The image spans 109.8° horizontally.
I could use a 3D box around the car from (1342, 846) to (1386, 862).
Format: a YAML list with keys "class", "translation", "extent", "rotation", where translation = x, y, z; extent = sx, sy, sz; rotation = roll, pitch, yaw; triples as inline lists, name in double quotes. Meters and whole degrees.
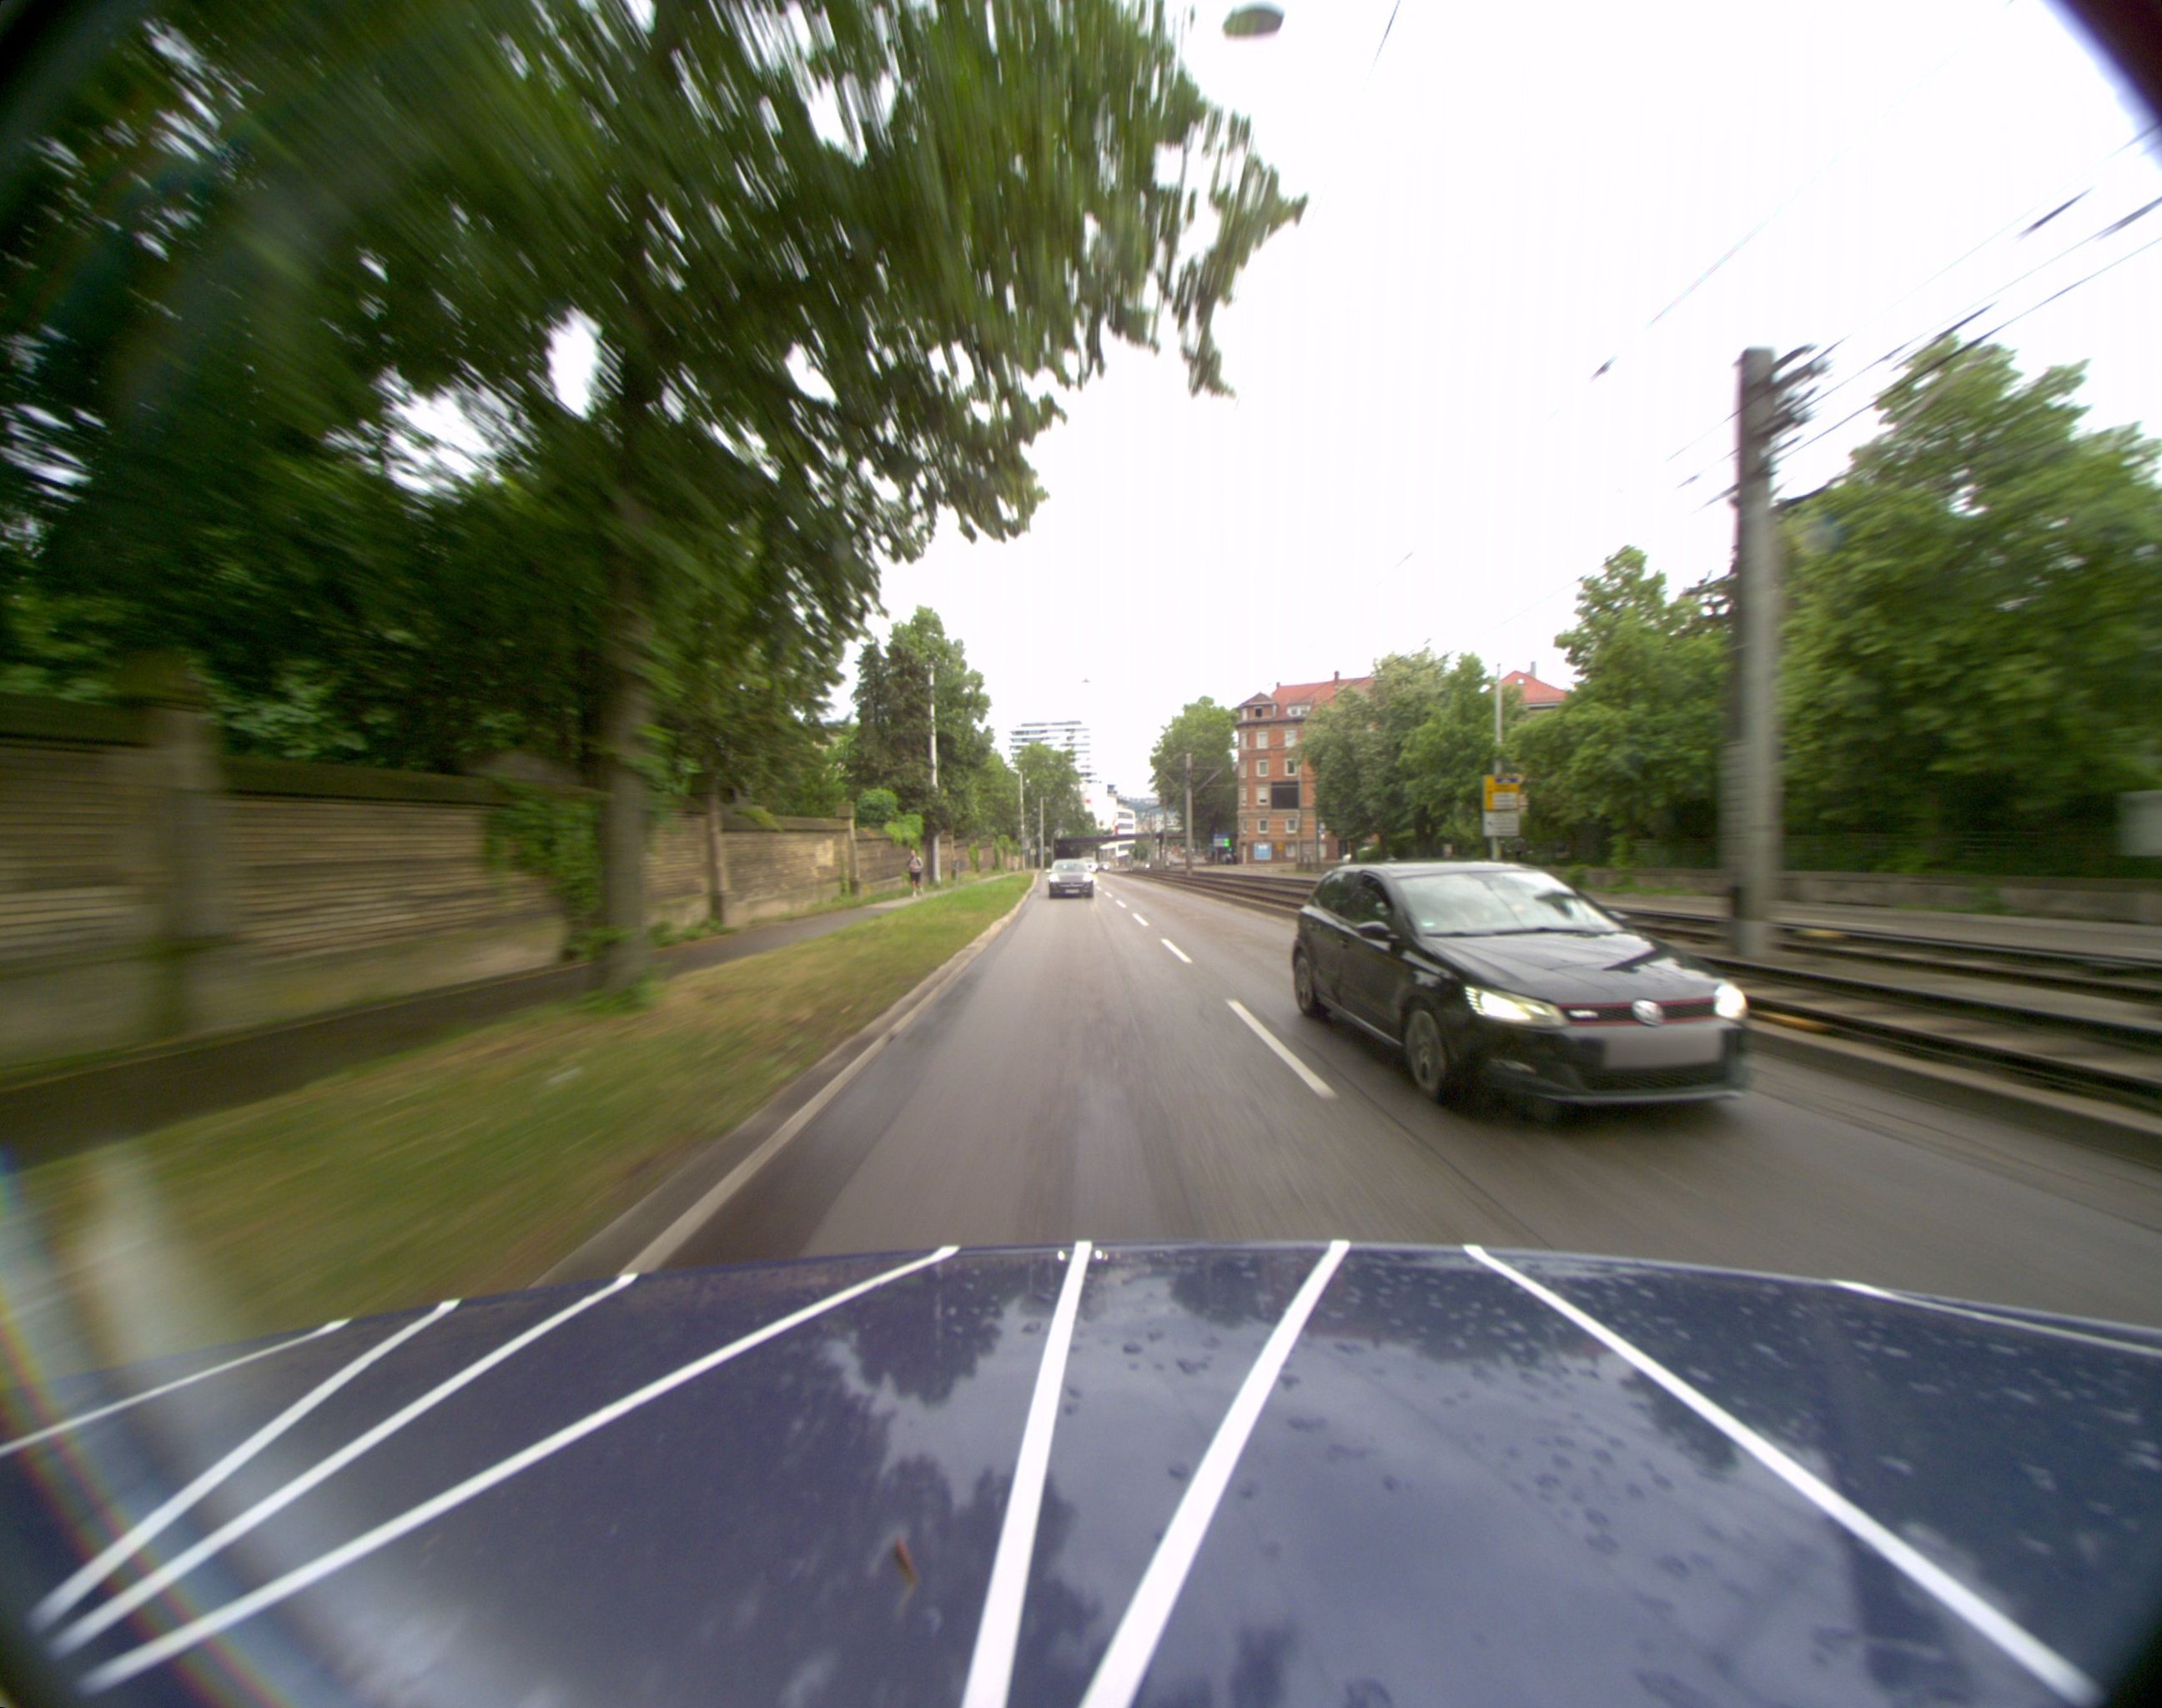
- class: "car"
  translation: [30.482, 0.016, 81.917]
  extent: [4.428, 1.588, 1.844]
  rotation: [-2, 0, 20]

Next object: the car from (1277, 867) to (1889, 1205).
- class: "car"
  translation: [2.854, 0.880, 5.515]
  extent: [1.798, 1.477, 3.964]
  rotation: [-1, 0, 0]

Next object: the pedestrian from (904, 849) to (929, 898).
- class: "pedestrian"
  translation: [-6.086, 0.718, 28.217]
  extent: [0.710, 1.769, 0.900]
  rotation: [-2, 1, -2]

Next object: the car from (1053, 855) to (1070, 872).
- class: "car"
  translation: [-2.563, 1.239, 100.582]
  extent: [1.998, 2.002, 4.000]
  rotation: [-3, 1, 1]

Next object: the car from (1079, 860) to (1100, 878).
- class: "car"
  translation: [0.765, 1.356, 68.695]
  extent: [1.806, 1.483, 4.102]
  rotation: [-1, 0, 0]

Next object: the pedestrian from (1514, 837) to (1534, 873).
- class: "pedestrian"
  translation: [23.614, 0.072, 40.538]
  extent: [0.597, 1.892, 0.654]
  rotation: [-3, 1, -3]

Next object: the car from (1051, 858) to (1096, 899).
- class: "car"
  translation: [-0.358, 0.937, 30.395]
  extent: [1.658, 1.483, 3.828]
  rotation: [-1, 0, -2]
